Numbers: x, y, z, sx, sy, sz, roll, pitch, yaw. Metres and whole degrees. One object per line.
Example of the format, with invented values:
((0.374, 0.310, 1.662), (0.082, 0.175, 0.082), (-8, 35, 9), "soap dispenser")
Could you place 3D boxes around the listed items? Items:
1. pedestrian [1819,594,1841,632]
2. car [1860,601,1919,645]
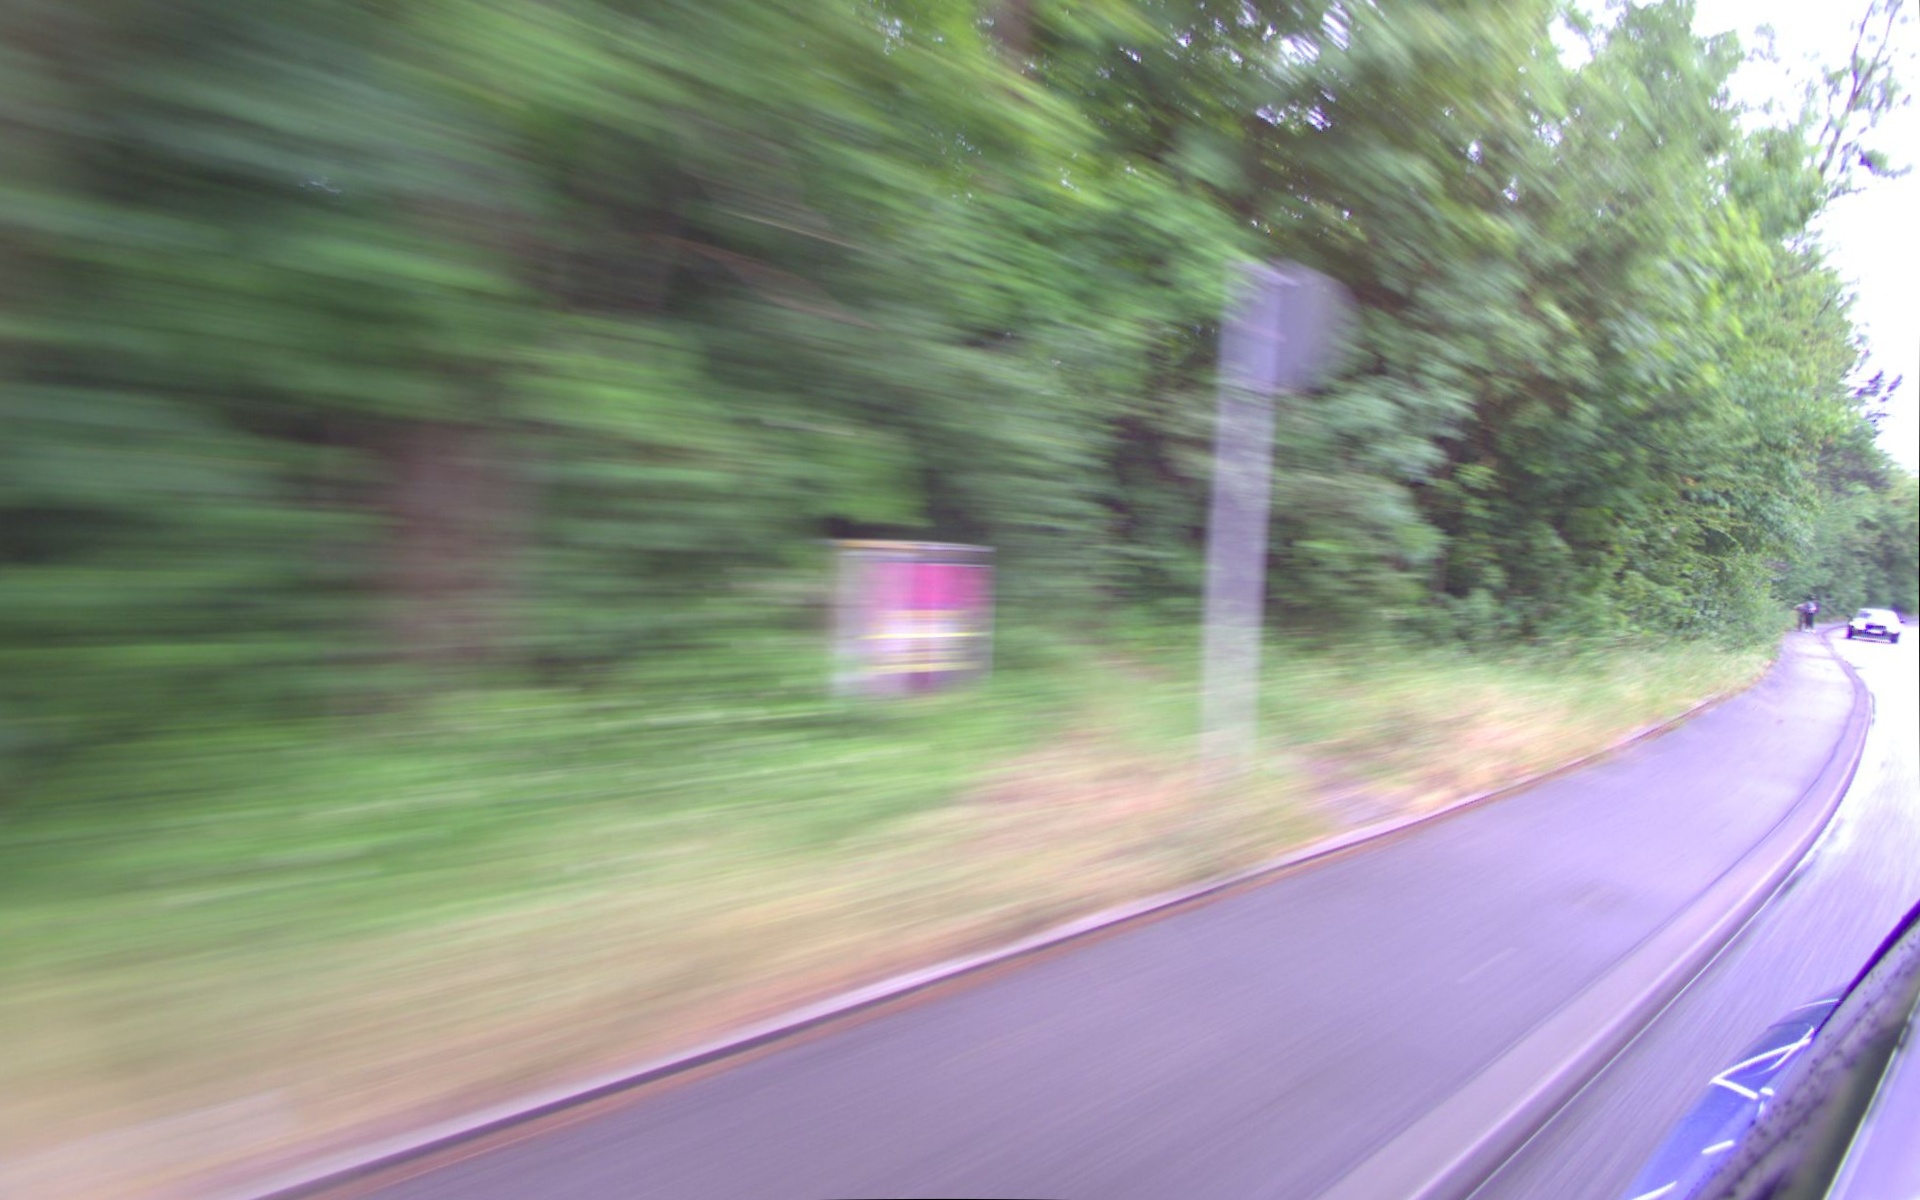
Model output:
((39.111, 0.573, 45.481), (0.565, 1.594, 0.758), (9, 9, 44), "pedestrian")
((41.988, 1.070, 44.870), (3.920, 1.536, 1.838), (3, 8, -31), "car")
